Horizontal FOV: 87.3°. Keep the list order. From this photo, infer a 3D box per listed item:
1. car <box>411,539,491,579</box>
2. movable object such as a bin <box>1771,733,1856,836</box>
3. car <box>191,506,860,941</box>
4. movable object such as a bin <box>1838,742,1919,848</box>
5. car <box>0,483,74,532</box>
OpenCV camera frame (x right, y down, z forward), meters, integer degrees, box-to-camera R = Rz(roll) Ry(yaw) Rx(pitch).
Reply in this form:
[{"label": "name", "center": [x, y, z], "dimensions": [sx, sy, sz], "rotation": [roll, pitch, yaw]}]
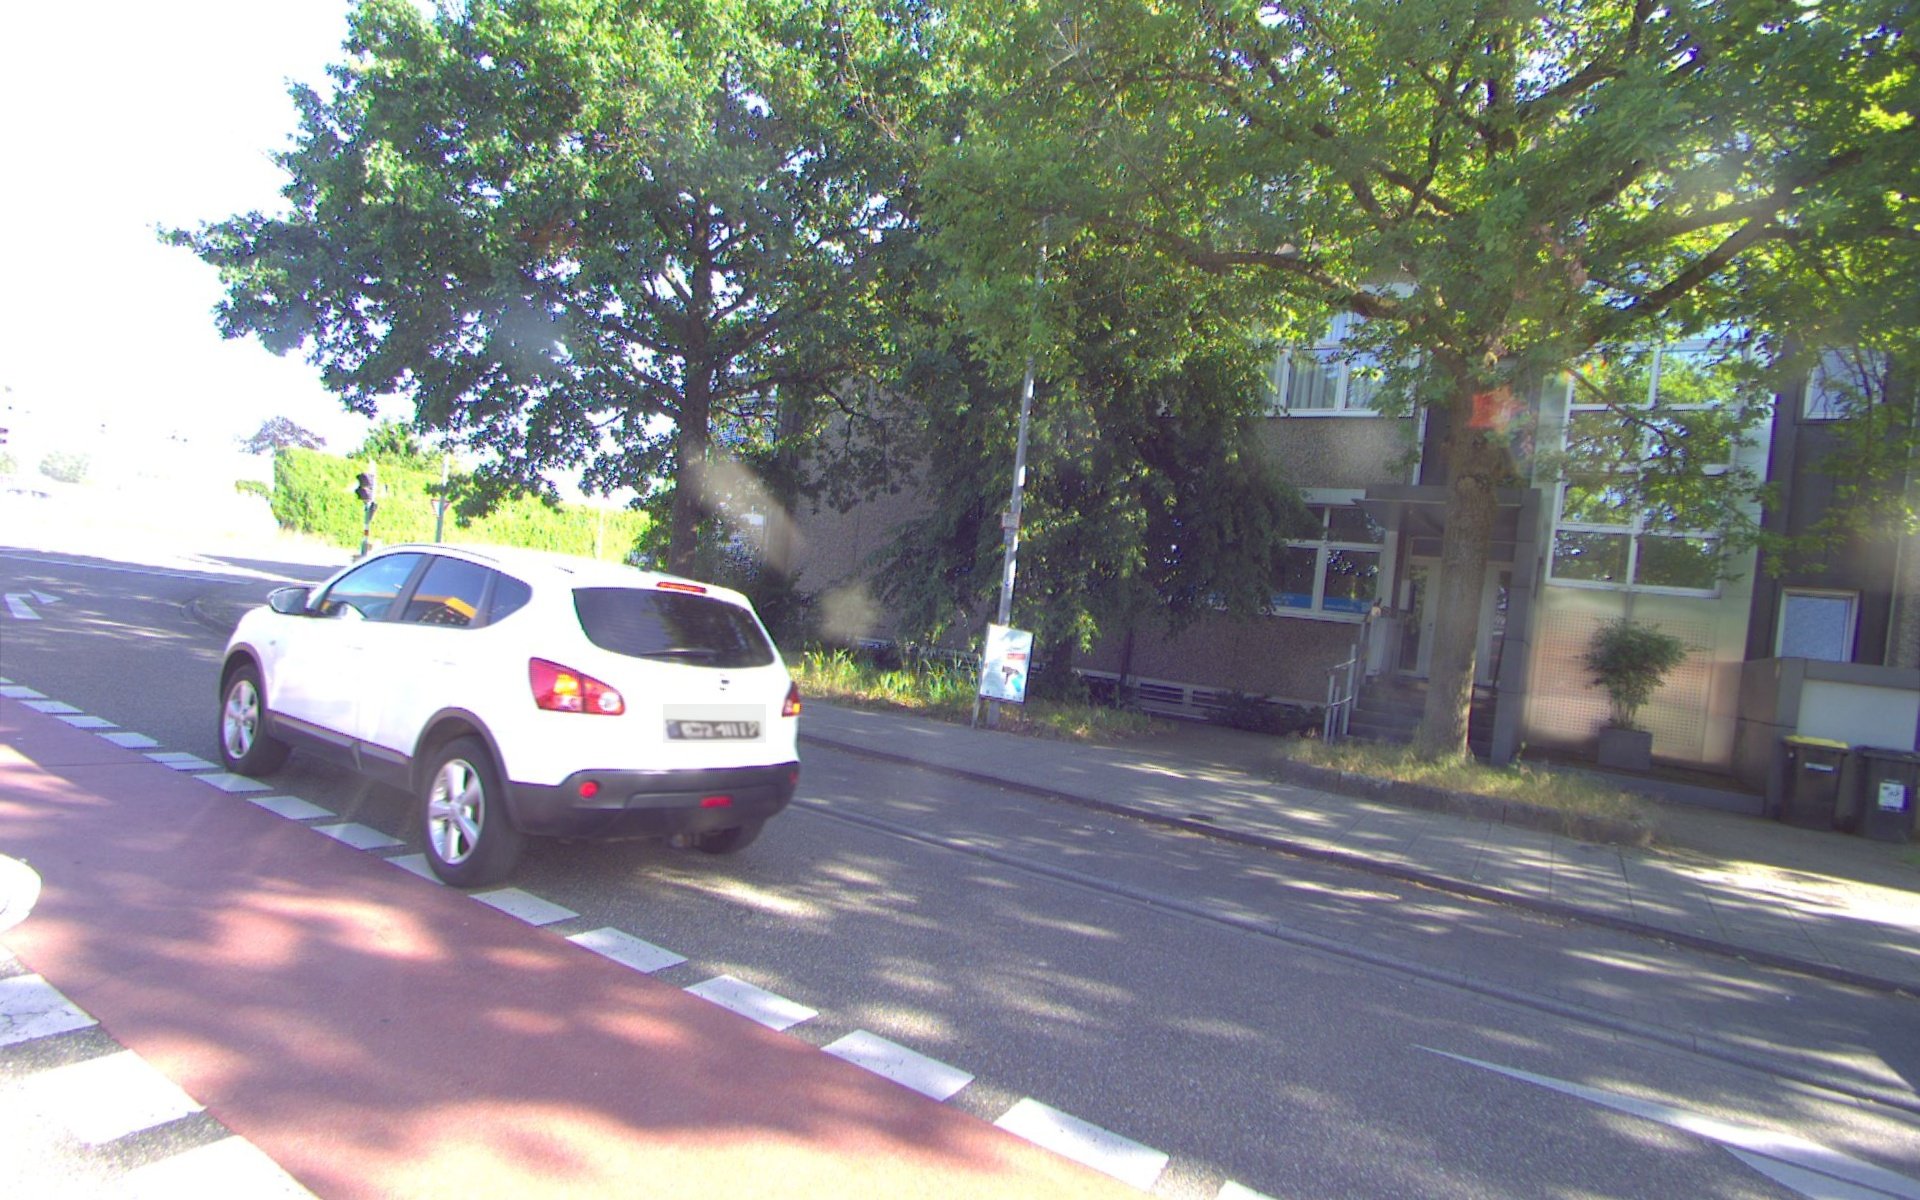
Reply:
[{"label": "car", "center": [-32.034, -2.565, 63.402], "dimensions": [1.890, 1.836, 3.998], "rotation": [6, -2, 28]}, {"label": "movable object such as a bin", "center": [10.173, 2.184, 12.013], "dimensions": [0.575, 1.070, 0.625], "rotation": [7, 0, 30]}, {"label": "car", "center": [-2.746, 0.479, 5.988], "dimensions": [4.004, 1.626, 1.718], "rotation": [7, -1, 36]}, {"label": "movable object such as a bin", "center": [10.762, 2.252, 11.720], "dimensions": [0.605, 1.075, 0.634], "rotation": [6, 0, 30]}, {"label": "car", "center": [-39.024, -3.924, 41.052], "dimensions": [1.677, 1.631, 3.820], "rotation": [7, -2, 25]}]
